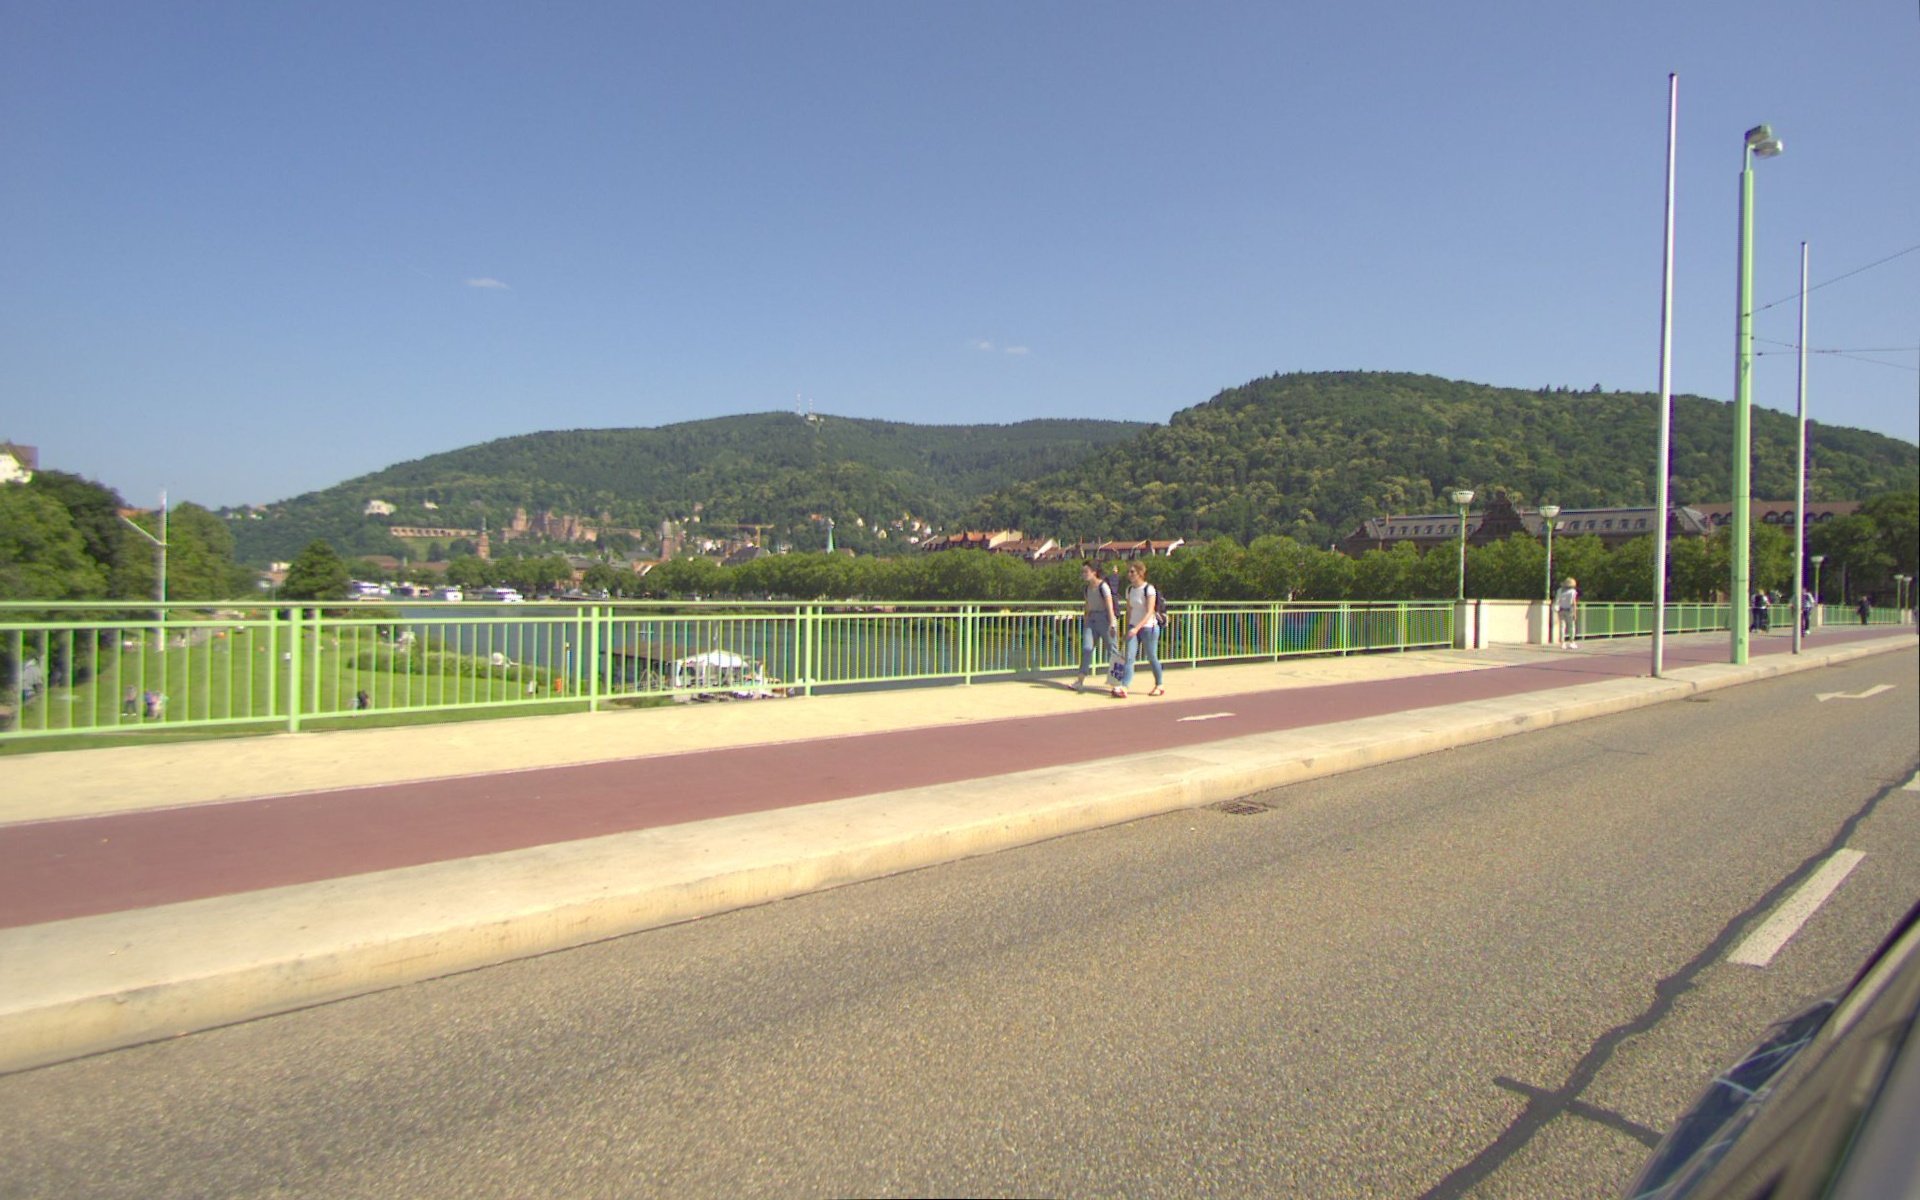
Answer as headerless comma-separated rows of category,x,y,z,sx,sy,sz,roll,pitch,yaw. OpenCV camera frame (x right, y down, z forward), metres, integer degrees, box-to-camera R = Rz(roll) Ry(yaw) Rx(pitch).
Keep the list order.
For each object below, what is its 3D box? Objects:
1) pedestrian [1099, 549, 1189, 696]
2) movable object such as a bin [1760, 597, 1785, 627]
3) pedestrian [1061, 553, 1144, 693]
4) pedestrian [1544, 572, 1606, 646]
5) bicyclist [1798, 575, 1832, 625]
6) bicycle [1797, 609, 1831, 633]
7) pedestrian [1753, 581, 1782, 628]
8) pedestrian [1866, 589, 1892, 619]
pedestrian,2.194,0.248,12.093,0.811,1.679,0.664,0,2,-41
movable object such as a bin,30.990,0.456,38.587,0.917,1.104,0.583,0,1,-42
pedestrian,1.785,0.263,12.657,0.733,1.679,0.668,0,2,-41
pedestrian,14.689,0.192,24.169,1.063,1.683,0.949,0,2,-41
bicyclist,29.510,-0.001,34.917,0.829,1.685,0.731,0,1,-40
bicycle,29.401,0.719,34.840,1.834,0.775,0.595,0,2,-41
pedestrian,30.363,0.164,38.037,0.844,1.727,0.664,0,2,-41
pedestrian,53.539,0.251,58.940,1.063,1.683,0.949,0,2,-41
